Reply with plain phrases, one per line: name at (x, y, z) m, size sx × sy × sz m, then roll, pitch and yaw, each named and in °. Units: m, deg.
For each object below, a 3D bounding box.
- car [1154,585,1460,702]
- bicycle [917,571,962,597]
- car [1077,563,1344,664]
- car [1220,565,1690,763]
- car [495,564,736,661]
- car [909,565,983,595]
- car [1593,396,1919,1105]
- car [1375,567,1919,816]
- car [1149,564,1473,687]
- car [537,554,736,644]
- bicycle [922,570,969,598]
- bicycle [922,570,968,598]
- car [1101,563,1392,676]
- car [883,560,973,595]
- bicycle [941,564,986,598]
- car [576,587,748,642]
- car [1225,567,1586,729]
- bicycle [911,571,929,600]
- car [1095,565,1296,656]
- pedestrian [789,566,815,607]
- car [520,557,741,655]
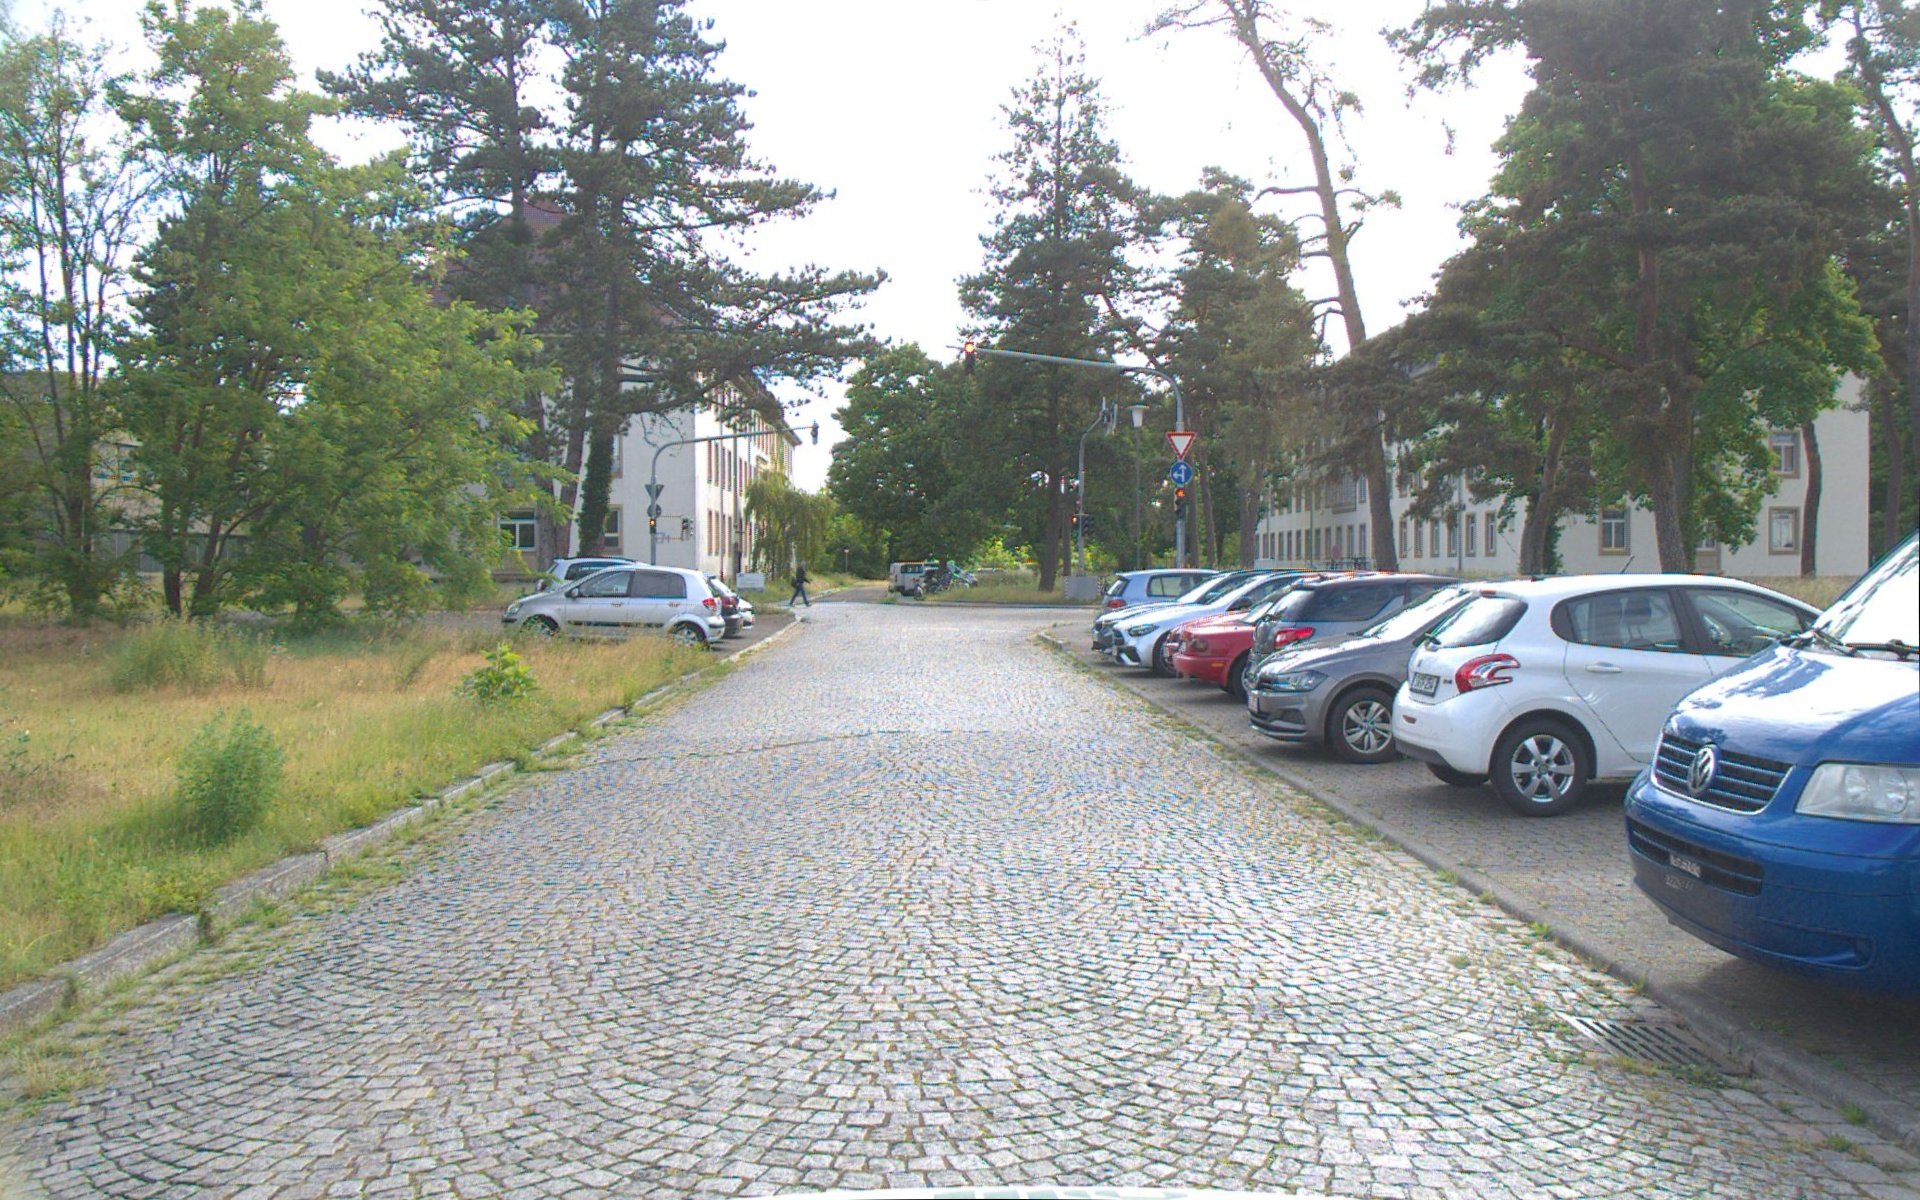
car at (4.099, 0.482, 19.811) m, size 3.230 × 1.289 × 1.661 m, roll 0°, pitch 1°, yaw -8°
bicycle at (-0.996, -0.783, 80.273) m, size 2.120 × 1.290 × 0.811 m, roll 0°, pitch 1°, yaw -9°
car at (4.061, 0.194, 27.105) m, size 4.045 × 1.570 × 1.661 m, roll 0°, pitch 1°, yaw -8°
car at (4.196, 0.481, 14.218) m, size 3.535 × 1.533 × 1.659 m, roll -1°, pitch 1°, yaw -13°
car at (-5.832, 0.183, 28.477) m, size 3.912 × 1.579 × 1.997 m, roll 0°, pitch 1°, yaw -8°
car at (-0.798, -1.140, 93.029) m, size 3.912 × 1.673 × 1.997 m, roll 0°, pitch 1°, yaw -8°
car at (4.899, 0.416, 5.842) m, size 4.687 × 2.075 × 1.737 m, roll 0°, pitch 1°, yaw -3°
car at (4.663, 0.555, 11.264) m, size 3.227 × 1.531 × 1.663 m, roll 0°, pitch 1°, yaw -4°
car at (4.634, 0.303, 22.078) m, size 3.912 × 1.570 × 1.661 m, roll 0°, pitch 1°, yaw -8°
car at (-6.589, -0.032, 34.009) m, size 3.913 × 1.780 × 1.923 m, roll 0°, pitch 1°, yaw -9°
bicycle at (-0.700, -0.765, 78.483) m, size 2.120 × 1.290 × 0.811 m, roll 0°, pitch 1°, yaw -9°
bicycle at (-0.723, -0.770, 79.070) m, size 2.120 × 1.290 × 0.811 m, roll 0°, pitch 1°, yaw -9°
car at (4.162, 0.248, 24.295) m, size 3.912 × 1.570 × 1.661 m, roll 0°, pitch 1°, yaw -8°
car at (-1.853, -1.317, 96.265) m, size 4.962 × 2.049 × 1.994 m, roll 0°, pitch 1°, yaw -13°
bicycle at (0.166, -0.937, 79.813) m, size 2.120 × 1.644 × 0.811 m, roll 0°, pitch 1°, yaw -9°
car at (-6.443, 0.298, 36.069) m, size 3.602 × 1.113 × 1.643 m, roll 0°, pitch 1°, yaw -8°
car at (4.563, 0.441, 17.112) m, size 3.235 × 1.530 × 1.659 m, roll -1°, pitch 1°, yaw -13°
bicycle at (-1.803, -0.657, 74.680) m, size 0.793 × 1.290 × 1.973 m, roll 0°, pitch 1°, yaw -1°
car at (4.199, 0.161, 29.682) m, size 3.325 × 1.570 × 1.389 m, roll 0°, pitch 1°, yaw -8°
pedestrian at (-5.998, -0.519, 62.808) m, size 0.880 × 1.524 × 0.904 m, roll 0°, pitch 1°, yaw -1°
car at (-6.083, 0.078, 30.954) m, size 3.912 × 1.735 × 1.997 m, roll 0°, pitch 1°, yaw -8°
